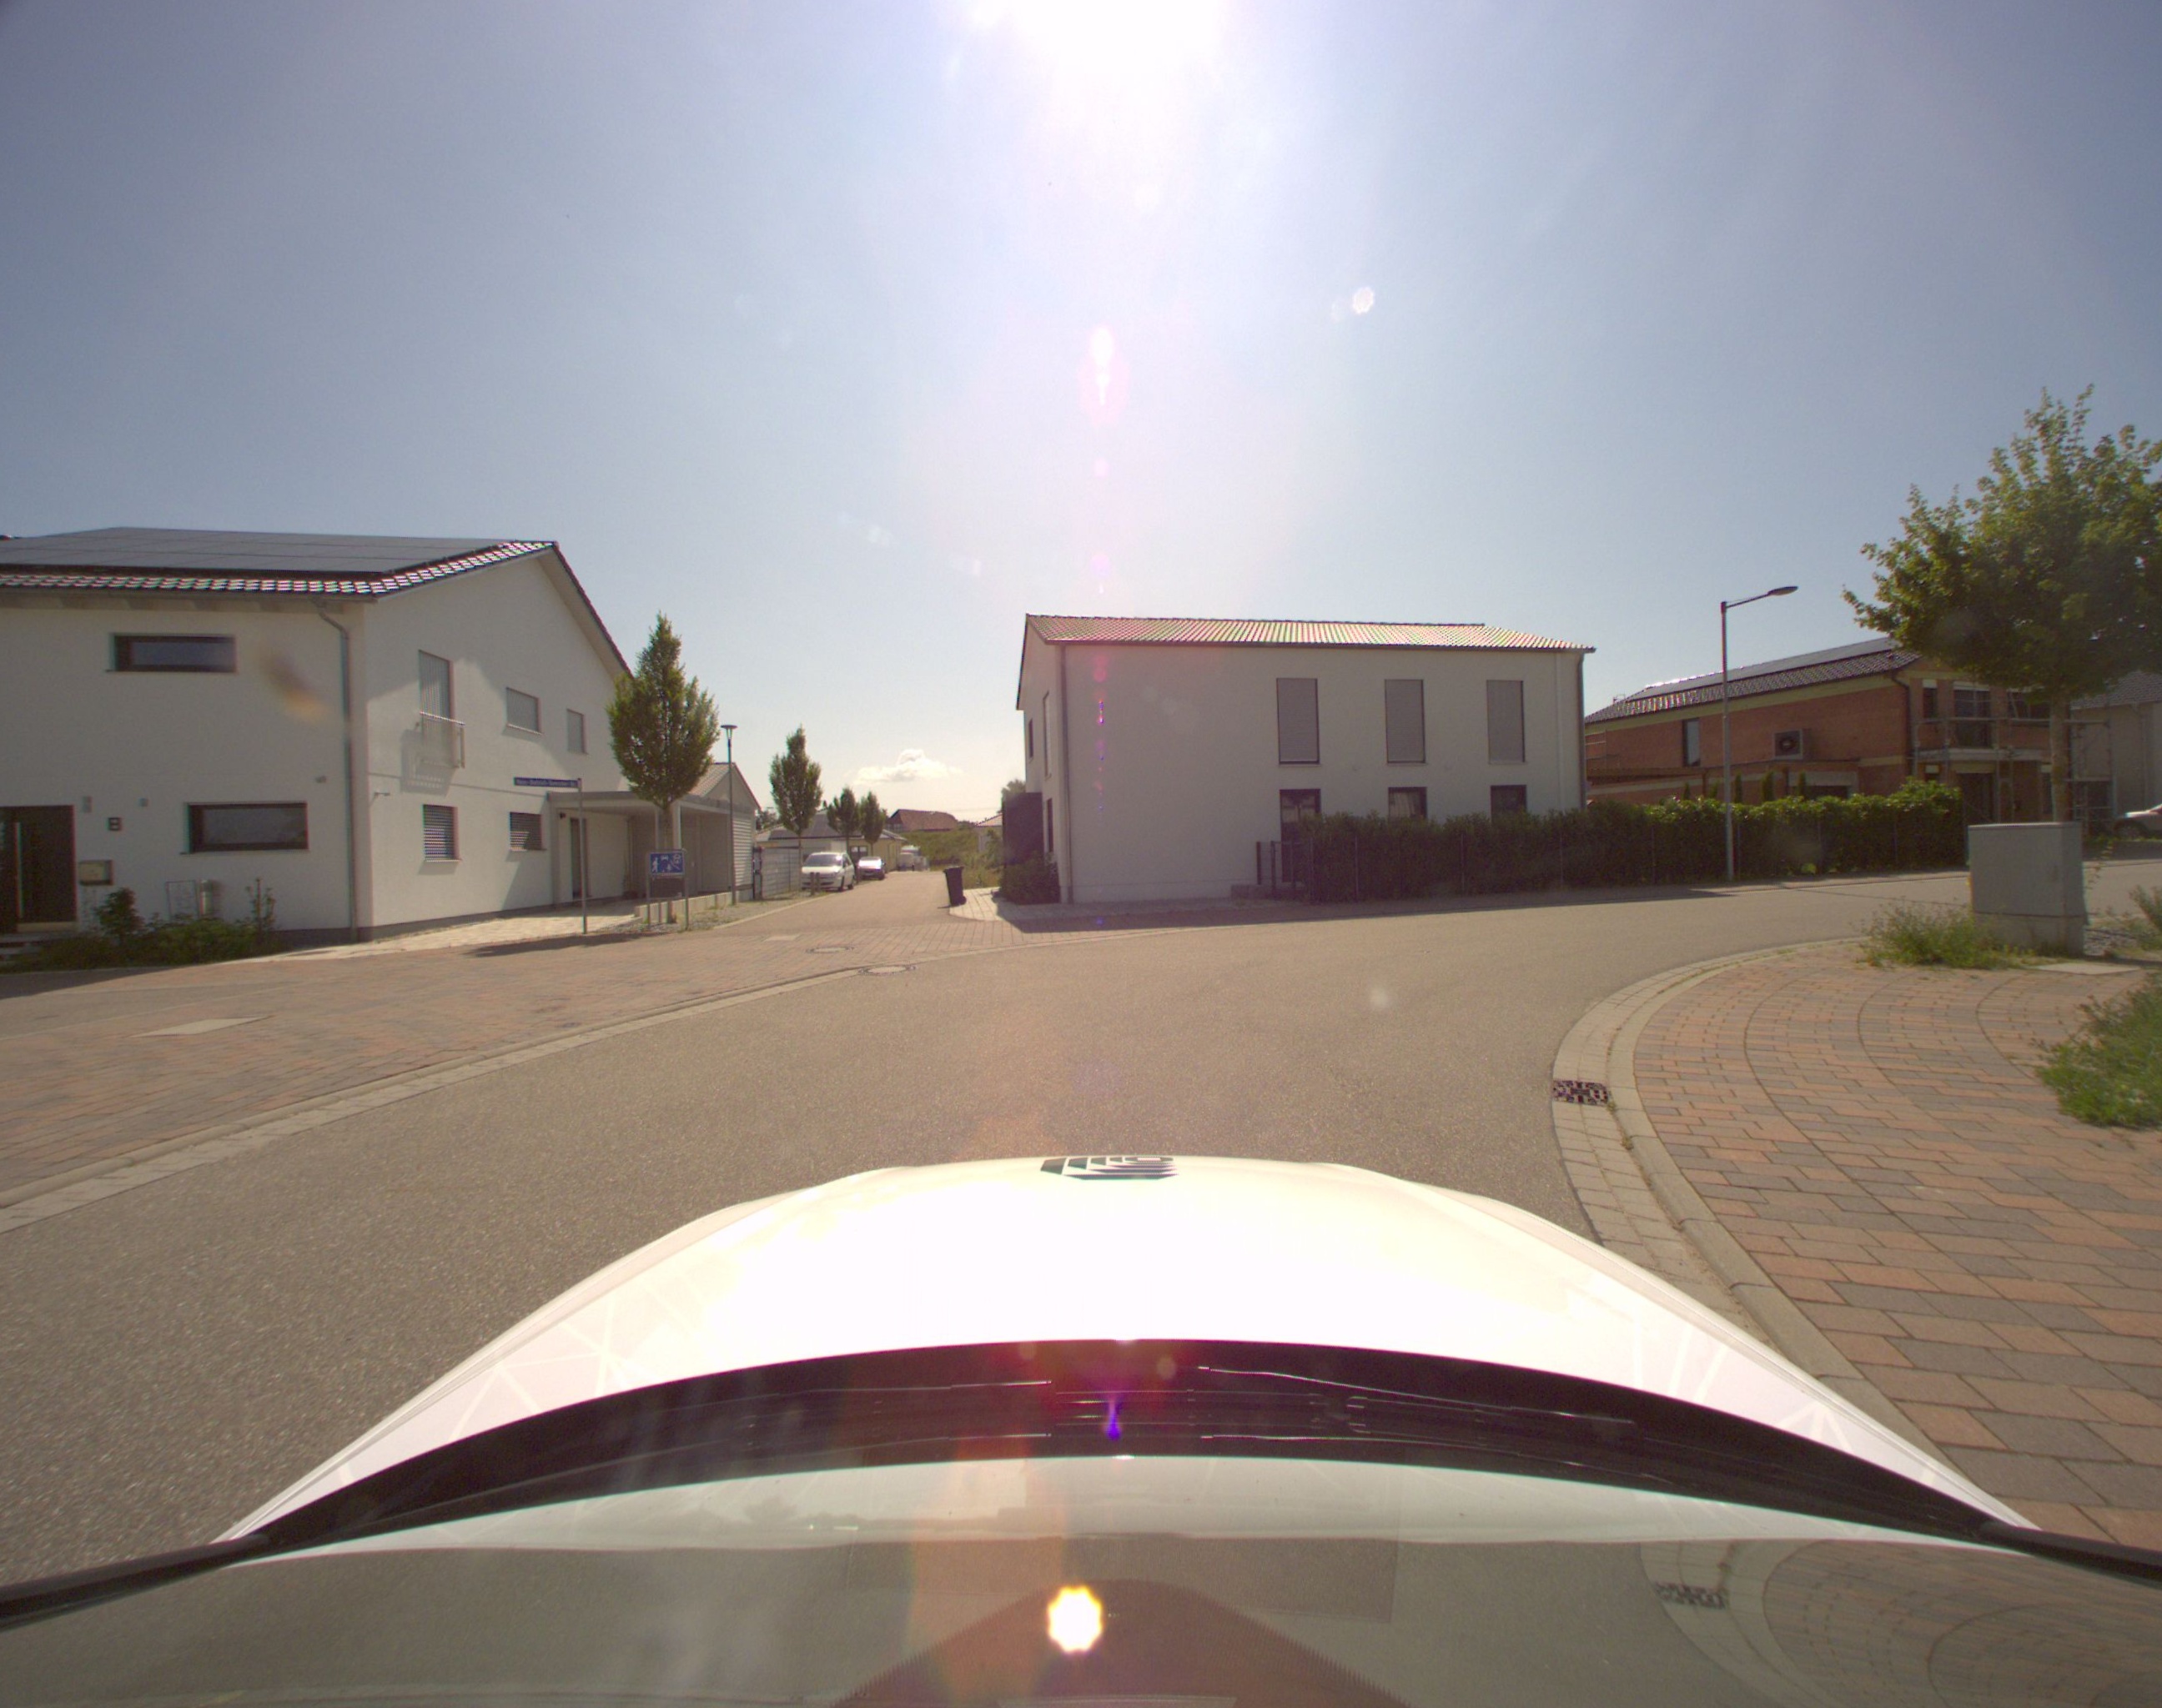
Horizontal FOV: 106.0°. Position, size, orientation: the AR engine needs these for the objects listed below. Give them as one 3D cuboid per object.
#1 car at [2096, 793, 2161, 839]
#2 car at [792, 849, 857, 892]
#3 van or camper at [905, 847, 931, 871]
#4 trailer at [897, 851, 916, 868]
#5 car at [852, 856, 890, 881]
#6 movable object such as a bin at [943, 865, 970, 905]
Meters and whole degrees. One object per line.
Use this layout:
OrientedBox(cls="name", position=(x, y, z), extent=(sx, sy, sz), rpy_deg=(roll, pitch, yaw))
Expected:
OrientedBox(cls="car", position=(39.906, -1.422, 28.931), extent=(2.001, 1.612, 4.409), rpy_deg=(-3, 0, -20))
OrientedBox(cls="car", position=(-11.286, 0.703, 36.156), extent=(1.992, 1.790, 4.634), rpy_deg=(0, -1, -8))
OrientedBox(cls="van or camper", position=(-16.750, 0.549, 83.906), extent=(2.262, 2.411, 4.831), rpy_deg=(0, -1, -8))
OrientedBox(cls="trailer", position=(-16.378, 0.508, 76.523), extent=(1.626, 1.614, 2.554), rpy_deg=(0, -1, -8))
OrientedBox(cls="car", position=(-14.220, 0.939, 55.360), extent=(1.992, 1.614, 4.472), rpy_deg=(0, -1, -8))
OrientedBox(cls="movable object such as a bin", position=(-3.124, 0.782, 20.482), extent=(0.599, 0.948, 0.499), rpy_deg=(-3, 0, -9))
